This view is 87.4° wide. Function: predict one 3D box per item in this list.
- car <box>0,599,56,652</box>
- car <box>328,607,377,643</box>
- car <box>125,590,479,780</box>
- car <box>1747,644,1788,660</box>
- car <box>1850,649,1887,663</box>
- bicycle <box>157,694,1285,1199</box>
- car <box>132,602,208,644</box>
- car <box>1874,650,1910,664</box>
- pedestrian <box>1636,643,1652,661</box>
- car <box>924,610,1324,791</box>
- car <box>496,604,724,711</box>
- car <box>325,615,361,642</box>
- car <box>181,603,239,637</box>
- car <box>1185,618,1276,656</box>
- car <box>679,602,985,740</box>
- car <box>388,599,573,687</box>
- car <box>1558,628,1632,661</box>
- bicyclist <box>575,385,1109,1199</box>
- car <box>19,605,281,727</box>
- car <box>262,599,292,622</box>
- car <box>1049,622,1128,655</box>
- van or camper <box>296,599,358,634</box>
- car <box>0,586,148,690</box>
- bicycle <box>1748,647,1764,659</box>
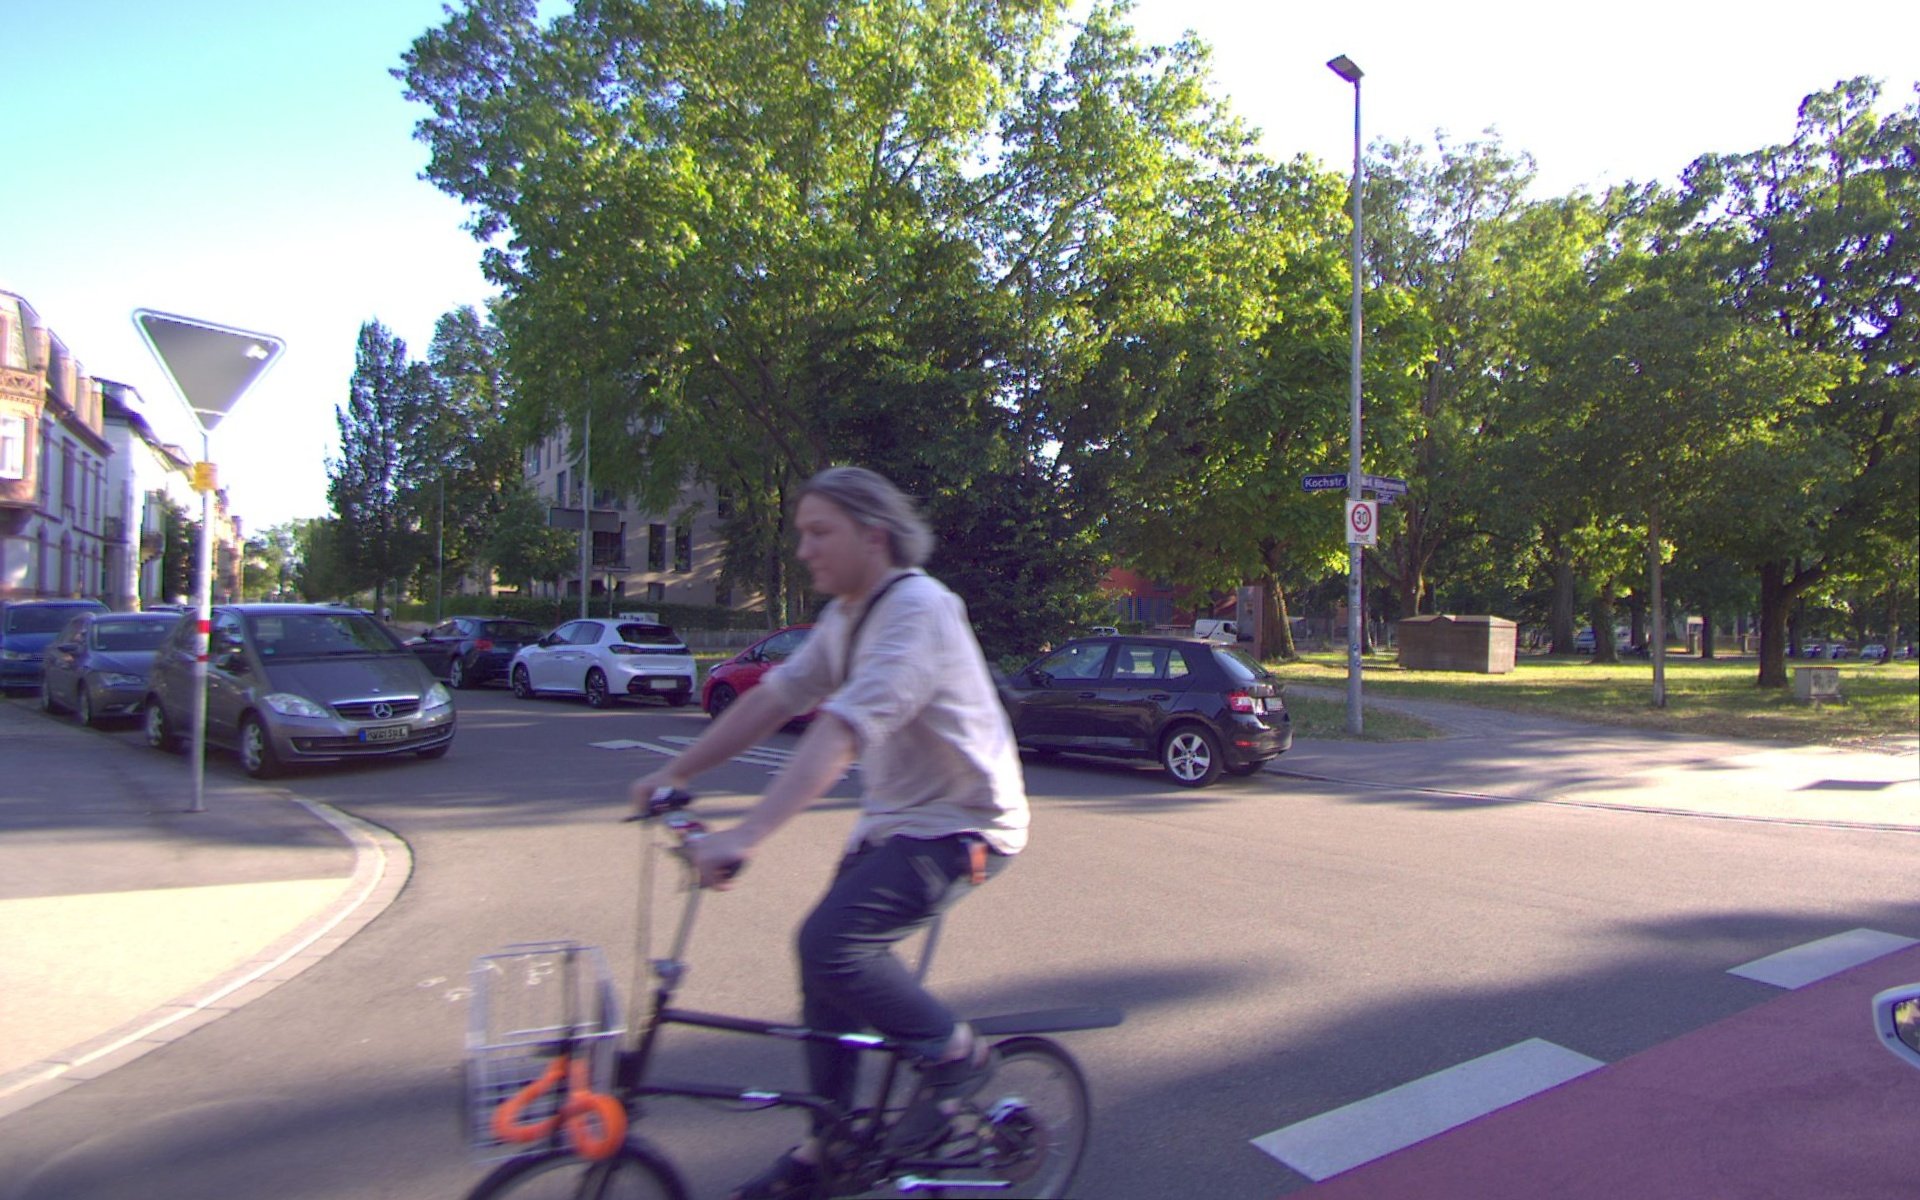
[{"bbox_3d":[-31.062,0.707,31.238,3.955,1.594,1.876,4,-3,-31],"label":"car"},{"bbox_3d":[-29.623,1.225,48.924,1.871,1.594,3.964,4,-3,-33],"label":"car"},{"bbox_3d":[-7.007,0.775,10.604,3.783,1.652,1.834,0,-2,35],"label":"car"},{"bbox_3d":[80.943,5.199,100.670,3.954,1.528,1.984,3,-2,-31],"label":"car"},{"bbox_3d":[101.060,6.239,111.689,4.068,1.528,1.984,3,-2,-31],"label":"car"},{"bbox_3d":[-0.351,0.816,2.206,2.076,1.150,0.736,2,-1,-25],"label":"bicycle"},{"bbox_3d":[-32.526,0.947,41.483,1.870,1.594,3.967,4,-3,-31],"label":"car"},{"bbox_3d":[107.102,6.552,115.455,4.068,1.528,1.984,3,-2,-31],"label":"car"},{"bbox_3d":[38.162,2.896,56.026,0.604,1.000,0.544,3,-2,-36],"label":"pedestrian"},{"bbox_3d":[1.768,1.002,11.207,3.933,1.594,1.886,1,-3,35],"label":"car"},{"bbox_3d":[-6.147,0.950,17.503,3.938,1.594,1.883,1,-3,39],"label":"car"},{"bbox_3d":[-39.873,1.851,64.979,1.870,1.594,3.967,4,-3,-31],"label":"car"},{"bbox_3d":[-38.199,1.011,51.257,1.870,1.594,3.967,4,-3,-31],"label":"car"},{"bbox_3d":[16.765,2.281,62.546,2.650,2.142,4.922,2,-1,-34],"label":"car"},{"bbox_3d":[-1.837,0.916,14.025,3.933,1.594,1.886,1,-3,35],"label":"car"},{"bbox_3d":[-9.910,0.866,20.669,3.939,1.594,1.883,1,-3,39],"label":"car"},{"bbox_3d":[51.310,3.622,81.103,6.251,2.495,2.705,3,-2,-33],"label":"car"},{"bbox_3d":[-0.320,0.535,2.224,0.893,1.725,0.935,2,-1,-25],"label":"bicyclist"},{"bbox_3d":[-11.246,0.828,13.863,4.208,1.419,1.833,0,-2,37],"label":"car"},{"bbox_3d":[-62.568,1.006,92.102,1.978,2.040,3.966,3,-2,-31],"label":"car"},{"bbox_3d":[6.801,2.043,53.167,3.696,1.639,1.983,2,-1,-31],"label":"car"},{"bbox_3d":[-51.425,1.303,81.566,5.976,2.583,2.073,1,-3,36],"label":"van or camper"},{"bbox_3d":[-16.404,0.656,18.177,4.212,1.665,1.832,0,-3,40],"label":"car"},{"bbox_3d":[79.968,5.344,100.881,2.310,1.190,0.653,3,-2,-35],"label":"bicycle"}]
